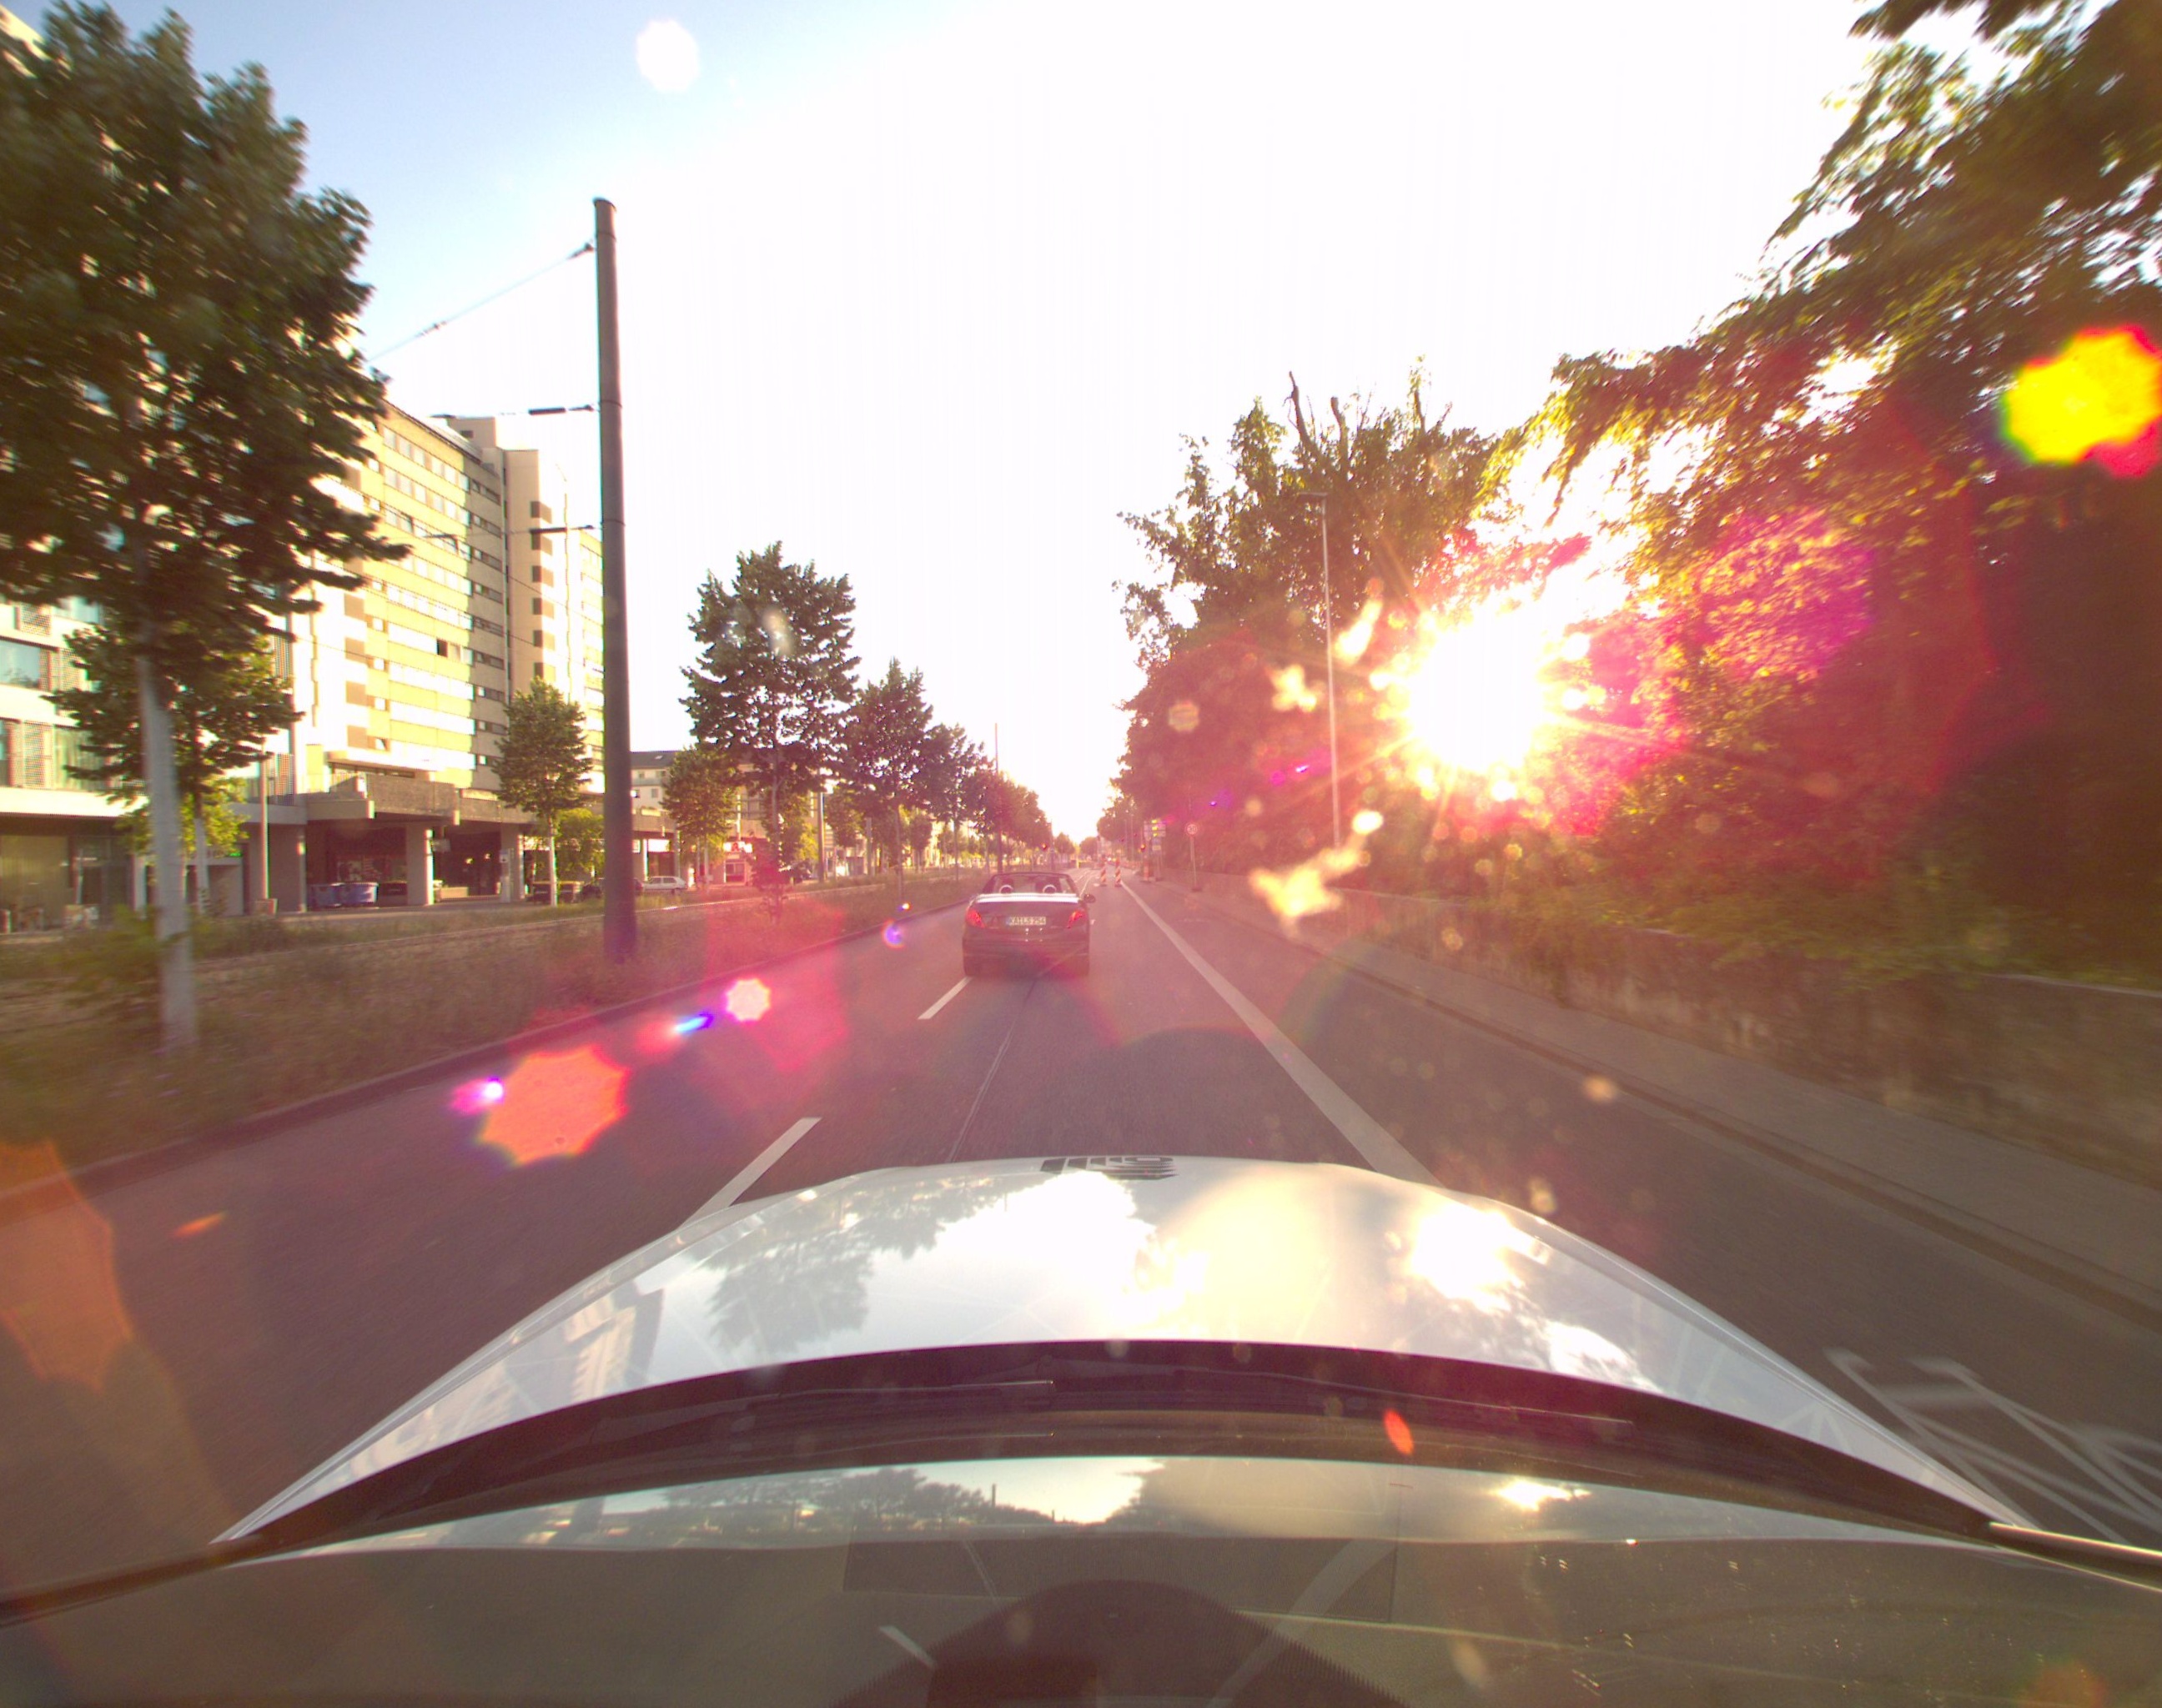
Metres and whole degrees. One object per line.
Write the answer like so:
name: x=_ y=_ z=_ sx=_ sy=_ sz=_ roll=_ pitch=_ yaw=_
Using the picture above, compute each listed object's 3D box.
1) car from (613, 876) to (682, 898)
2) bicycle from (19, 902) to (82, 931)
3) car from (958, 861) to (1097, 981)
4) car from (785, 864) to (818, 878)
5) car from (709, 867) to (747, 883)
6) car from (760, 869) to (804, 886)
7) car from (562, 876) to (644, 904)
car: x=-31.166 y=2.325 z=58.563 sx=4.151 sy=1.436 sz=1.805 roll=0 pitch=-1 yaw=-38
bicycle: x=-39.685 y=2.407 z=31.373 sx=1.783 sy=1.020 sz=0.421 roll=-2 pitch=-1 yaw=-3
car: x=-0.839 y=0.850 z=12.141 sx=1.716 sy=1.449 sz=3.894 roll=-1 pitch=0 yaw=-5
car: x=-40.164 y=2.369 z=117.285 sx=3.921 sy=1.845 sz=2.191 roll=-2 pitch=0 yaw=0
car: x=-49.899 y=2.982 z=115.301 sx=4.317 sy=1.769 sz=2.165 roll=-4 pitch=1 yaw=-2
car: x=-29.684 y=2.361 z=80.915 sx=3.749 sy=1.450 sz=1.724 roll=-2 pitch=-2 yaw=-39
car: x=-30.716 y=2.277 z=52.384 sx=4.307 sy=1.590 sz=1.986 roll=-1 pitch=-1 yaw=-39
